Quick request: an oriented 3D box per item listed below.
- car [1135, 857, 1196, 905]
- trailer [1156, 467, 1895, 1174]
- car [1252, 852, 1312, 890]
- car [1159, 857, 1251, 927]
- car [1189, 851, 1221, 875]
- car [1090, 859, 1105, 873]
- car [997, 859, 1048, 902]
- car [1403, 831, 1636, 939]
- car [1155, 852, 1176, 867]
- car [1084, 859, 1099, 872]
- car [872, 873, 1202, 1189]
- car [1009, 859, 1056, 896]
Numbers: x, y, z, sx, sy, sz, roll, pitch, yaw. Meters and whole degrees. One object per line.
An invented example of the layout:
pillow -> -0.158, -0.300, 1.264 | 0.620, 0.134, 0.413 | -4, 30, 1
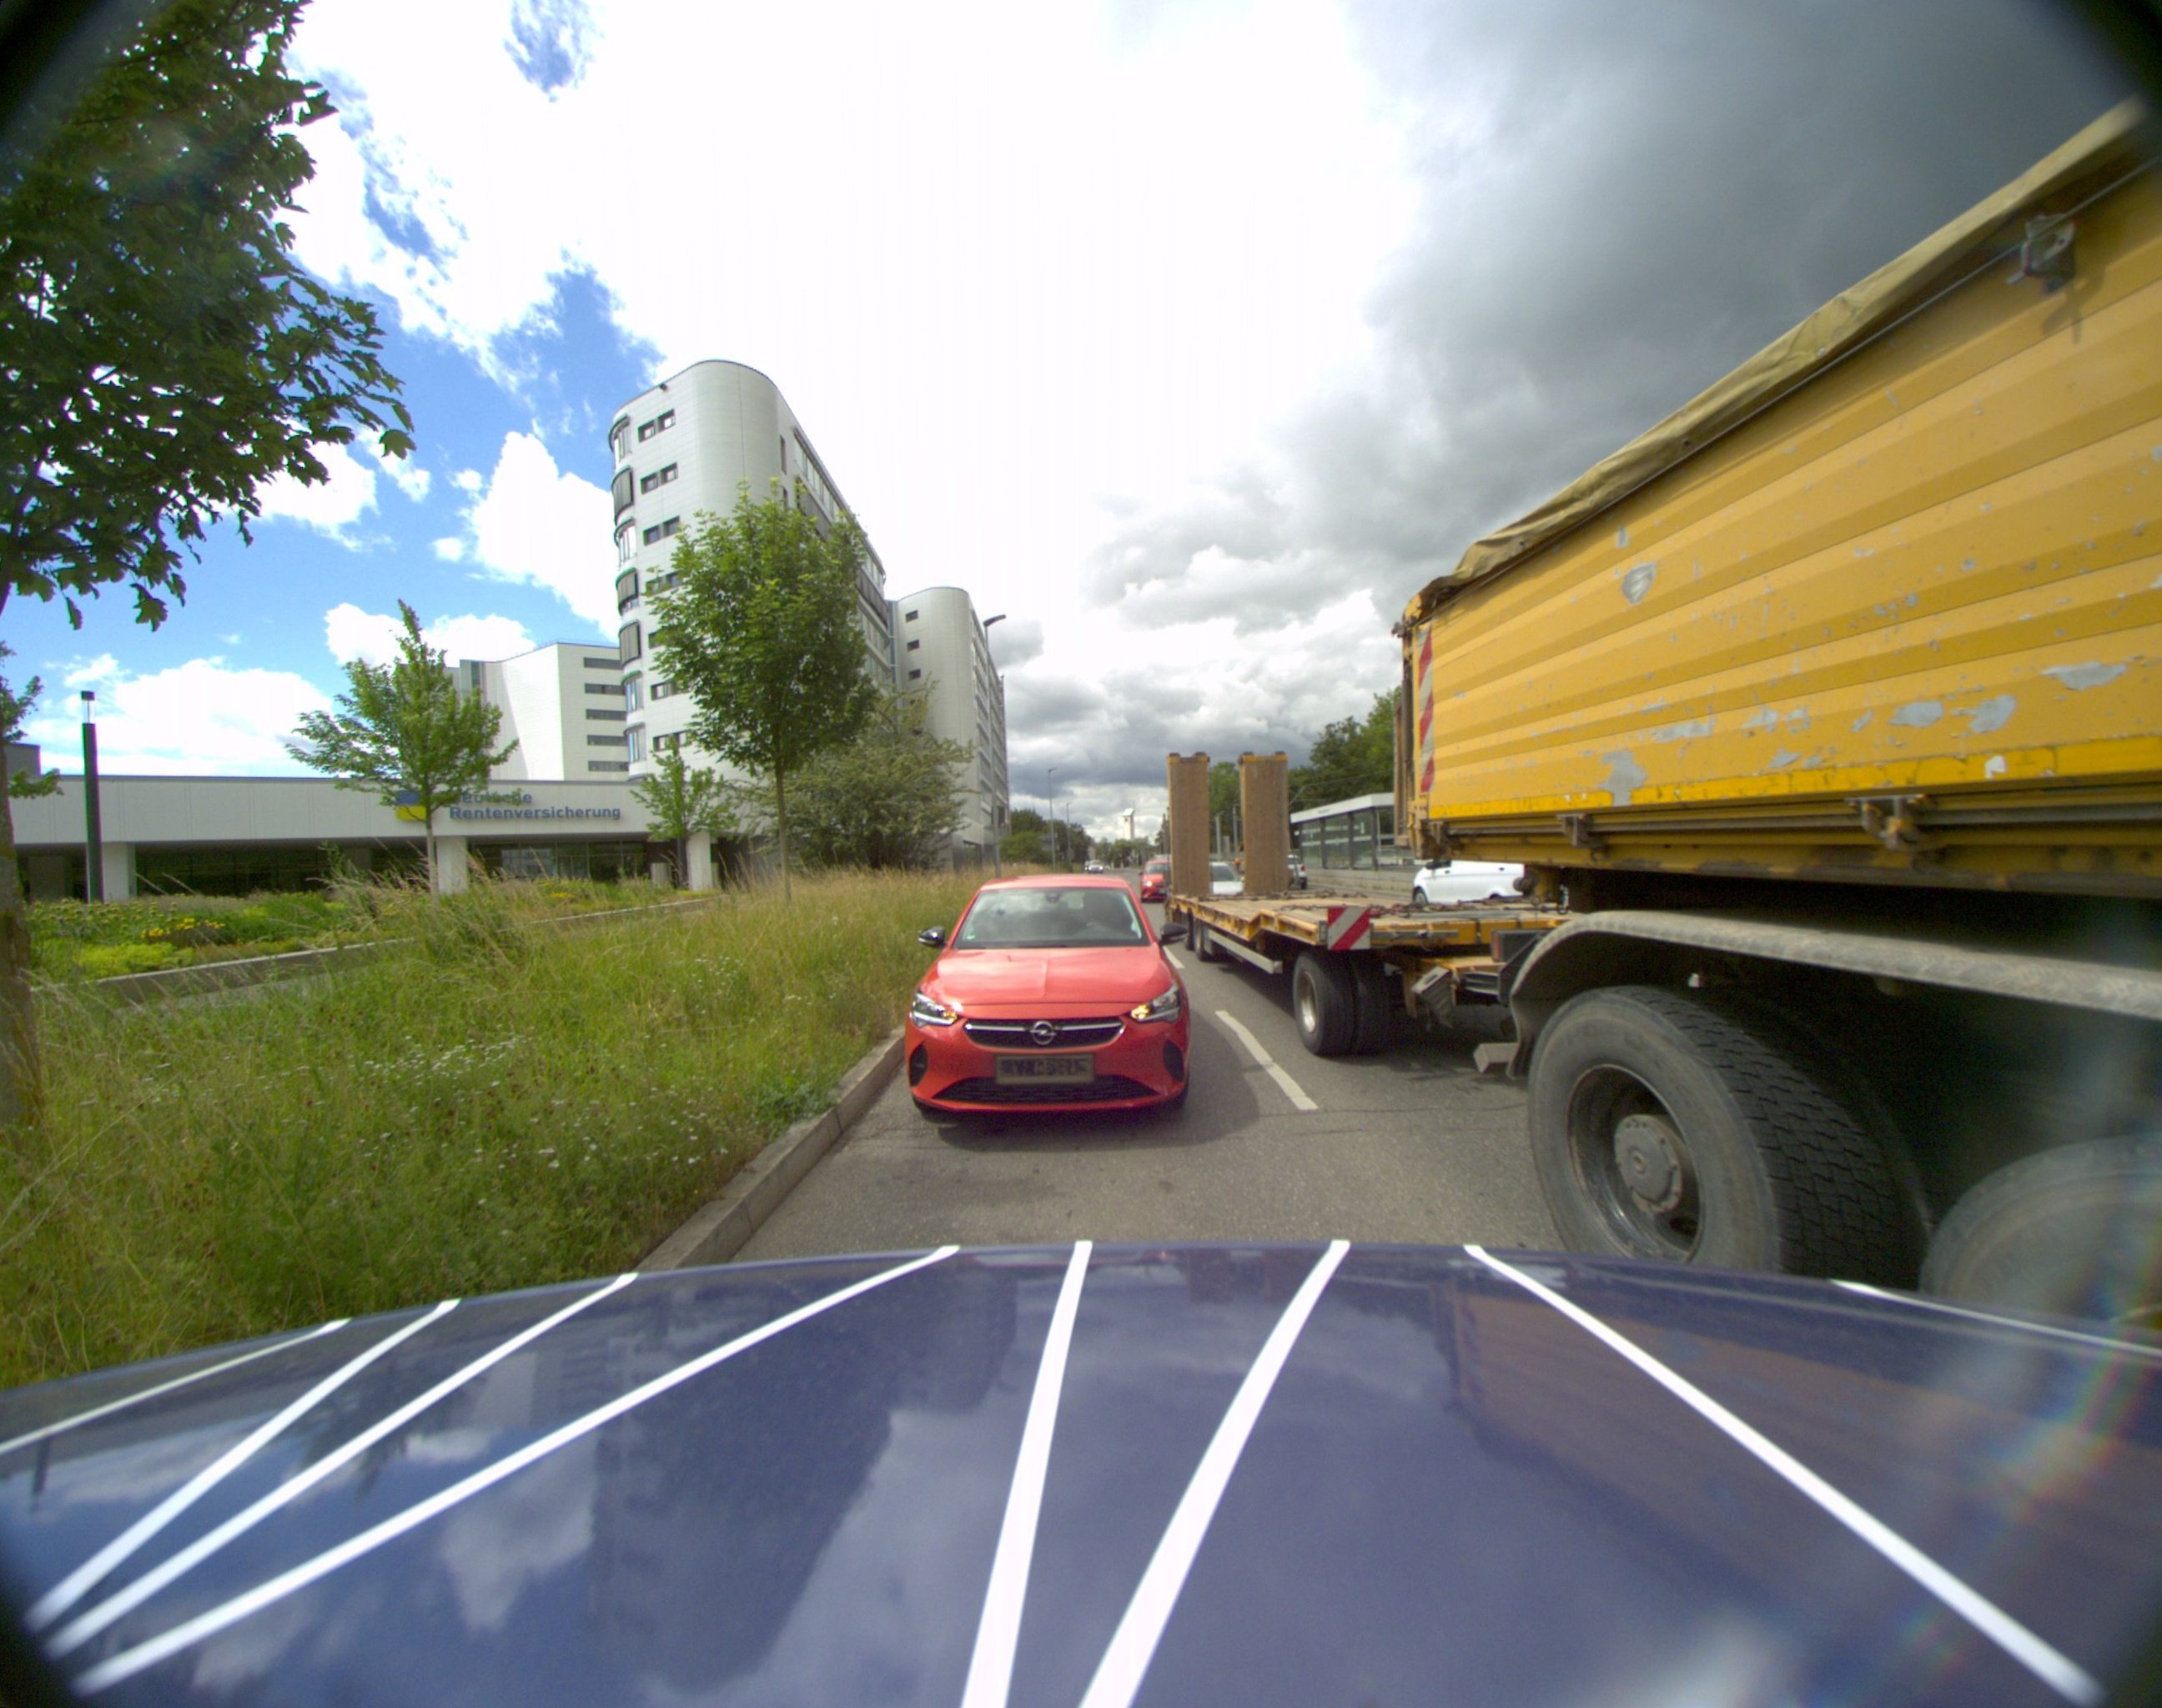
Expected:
car -> 2.906, 0.888, 26.823 | 1.692, 1.471, 3.999 | -2, 1, 1
trailer -> 2.808, -0.159, 9.328 | 2.713, 3.501, 10.914 | -2, 0, 1
car -> 8.656, 0.716, 33.020 | 1.644, 1.489, 3.554 | -2, 0, 1
car -> 3.036, 0.881, 19.311 | 1.692, 1.471, 3.999 | -2, 1, 1
car -> 8.550, 0.609, 52.667 | 1.644, 1.489, 3.554 | -2, 0, 1
car -> 1.920, 1.401, 90.203 | 1.738, 1.565, 3.446 | -2, 0, 1
car -> -2.292, 1.011, 30.655 | 1.738, 1.565, 3.445 | -2, 0, 0
car -> 8.455, 0.534, 15.285 | 1.887, 1.761, 4.864 | -2, 0, 1
car -> 8.705, 0.592, 78.586 | 1.770, 1.489, 3.554 | -2, 0, 1
car -> 1.743, 1.920, 126.968 | 1.999, 2.002, 3.998 | -2, 0, -6
car -> -0.205, 0.994, 6.021 | 1.692, 1.471, 3.999 | -2, 1, 1
car -> -2.171, 1.036, 35.344 | 1.850, 1.565, 4.623 | -2, 0, 0
